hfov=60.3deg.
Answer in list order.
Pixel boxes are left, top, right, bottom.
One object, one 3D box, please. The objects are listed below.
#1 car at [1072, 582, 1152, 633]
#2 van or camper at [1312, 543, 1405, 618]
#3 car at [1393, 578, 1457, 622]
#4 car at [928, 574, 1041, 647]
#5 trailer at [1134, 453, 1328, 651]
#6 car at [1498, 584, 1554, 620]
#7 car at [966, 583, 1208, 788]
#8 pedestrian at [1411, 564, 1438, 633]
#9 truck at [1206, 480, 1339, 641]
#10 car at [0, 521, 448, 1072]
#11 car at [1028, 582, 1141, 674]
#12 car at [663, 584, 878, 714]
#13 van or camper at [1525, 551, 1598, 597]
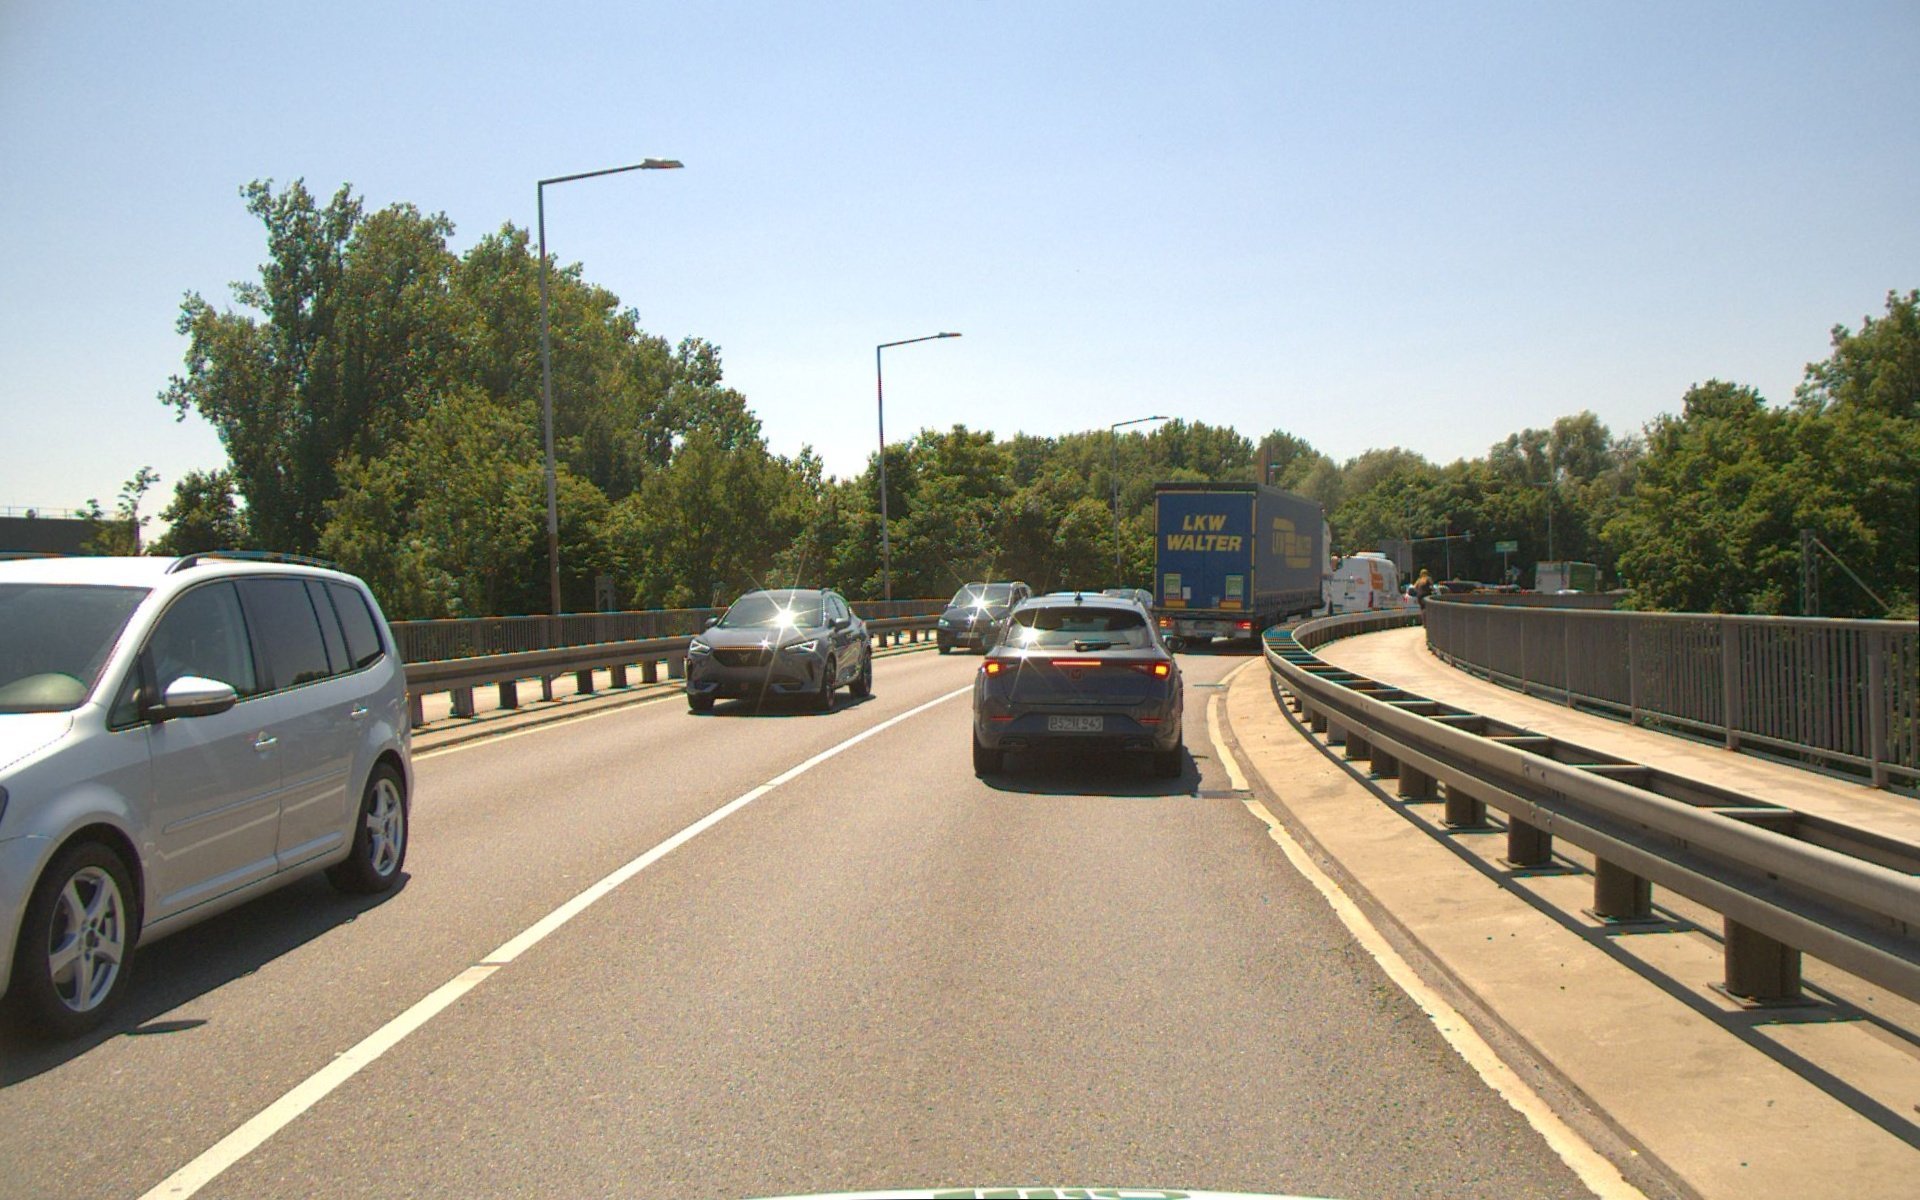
[{"bbox_3d":[4.865,0.234,52.483,1.667,1.536,3.582,-1,0,20],"label":"car"},{"bbox_3d":[15.349,-0.754,63.465,2.160,2.758,5.919,0,1,27],"label":"van or camper"},{"bbox_3d":[20.445,0.006,72.694,1.853,1.882,3.993,0,0,29],"label":"car"},{"bbox_3d":[0.639,0.255,39.402,1.865,1.617,4.003,-1,0,13],"label":"car"},{"bbox_3d":[7.859,-1.131,45.962,3.069,4.695,12.951,1,0,19],"label":"trailer"},{"bbox_3d":[30.564,0.135,89.310,1.856,1.882,3.986,0,0,35],"label":"car"},{"bbox_3d":[1.012,0.619,14.300,1.807,1.525,3.759,0,1,2],"label":"car"},{"bbox_3d":[13.625,-0.054,48.511,0.721,2.002,0.734,0,-1,21],"label":"pedestrian"},{"bbox_3d":[9.920,-1.115,51.834,3.104,4.665,7.399,0,0,19],"label":"truck"},{"bbox_3d":[-3.641,0.594,6.702,1.680,1.643,4.120,-1,0,2],"label":"car"},{"bbox_3d":[2.222,0.462,28.813,1.559,1.486,3.548,1,0,10],"label":"car"},{"bbox_3d":[-2.372,0.589,21.808,1.846,1.523,4.319,-1,0,7],"label":"car"},{"bbox_3d":[37.303,-1.594,102.565,2.449,2.331,4.930,7,1,41],"label":"van or camper"}]
